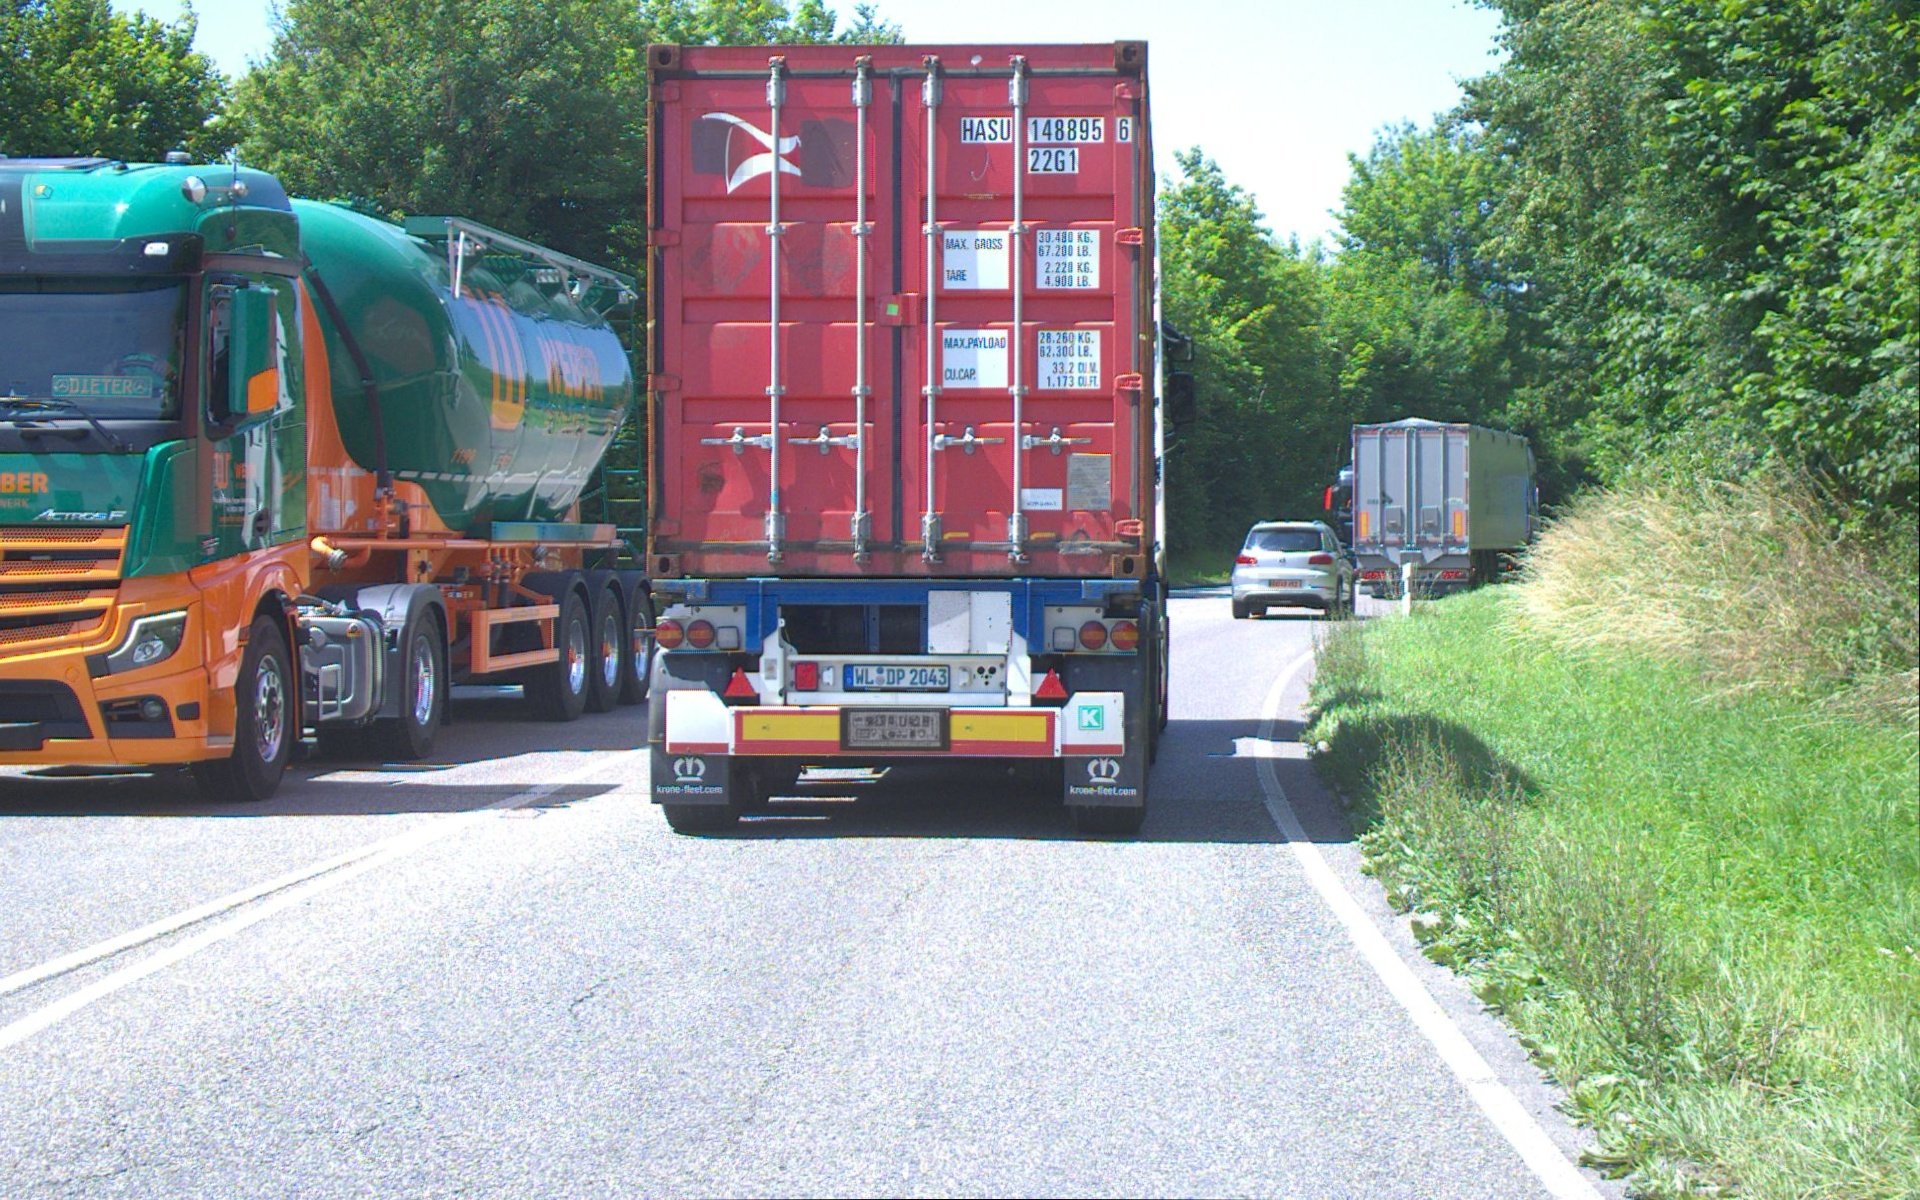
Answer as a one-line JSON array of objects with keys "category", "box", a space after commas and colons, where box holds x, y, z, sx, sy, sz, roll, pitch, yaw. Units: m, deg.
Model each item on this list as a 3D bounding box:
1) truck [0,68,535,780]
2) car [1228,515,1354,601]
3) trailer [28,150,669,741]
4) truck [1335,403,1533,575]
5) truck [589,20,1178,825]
[{"category": "truck", "box": [-4.839, -1.003, 21.774, 2.579, 3.667, 7.874, 0, 1, 6]}, {"category": "car", "box": [5.759, -0.752, 59.532, 1.833, 1.428, 3.998, 0, 1, 10]}, {"category": "trailer", "box": [-4.350, -1.104, 26.746, 2.578, 3.806, 8.913, 0, 1, 6]}, {"category": "truck", "box": [11.339, -2.556, 80.944, 2.924, 3.704, 13.350, 0, 1, 15]}, {"category": "truck", "box": [0.047, -0.961, 22.969, 2.648, 3.793, 13.358, 0, 1, 4]}]
